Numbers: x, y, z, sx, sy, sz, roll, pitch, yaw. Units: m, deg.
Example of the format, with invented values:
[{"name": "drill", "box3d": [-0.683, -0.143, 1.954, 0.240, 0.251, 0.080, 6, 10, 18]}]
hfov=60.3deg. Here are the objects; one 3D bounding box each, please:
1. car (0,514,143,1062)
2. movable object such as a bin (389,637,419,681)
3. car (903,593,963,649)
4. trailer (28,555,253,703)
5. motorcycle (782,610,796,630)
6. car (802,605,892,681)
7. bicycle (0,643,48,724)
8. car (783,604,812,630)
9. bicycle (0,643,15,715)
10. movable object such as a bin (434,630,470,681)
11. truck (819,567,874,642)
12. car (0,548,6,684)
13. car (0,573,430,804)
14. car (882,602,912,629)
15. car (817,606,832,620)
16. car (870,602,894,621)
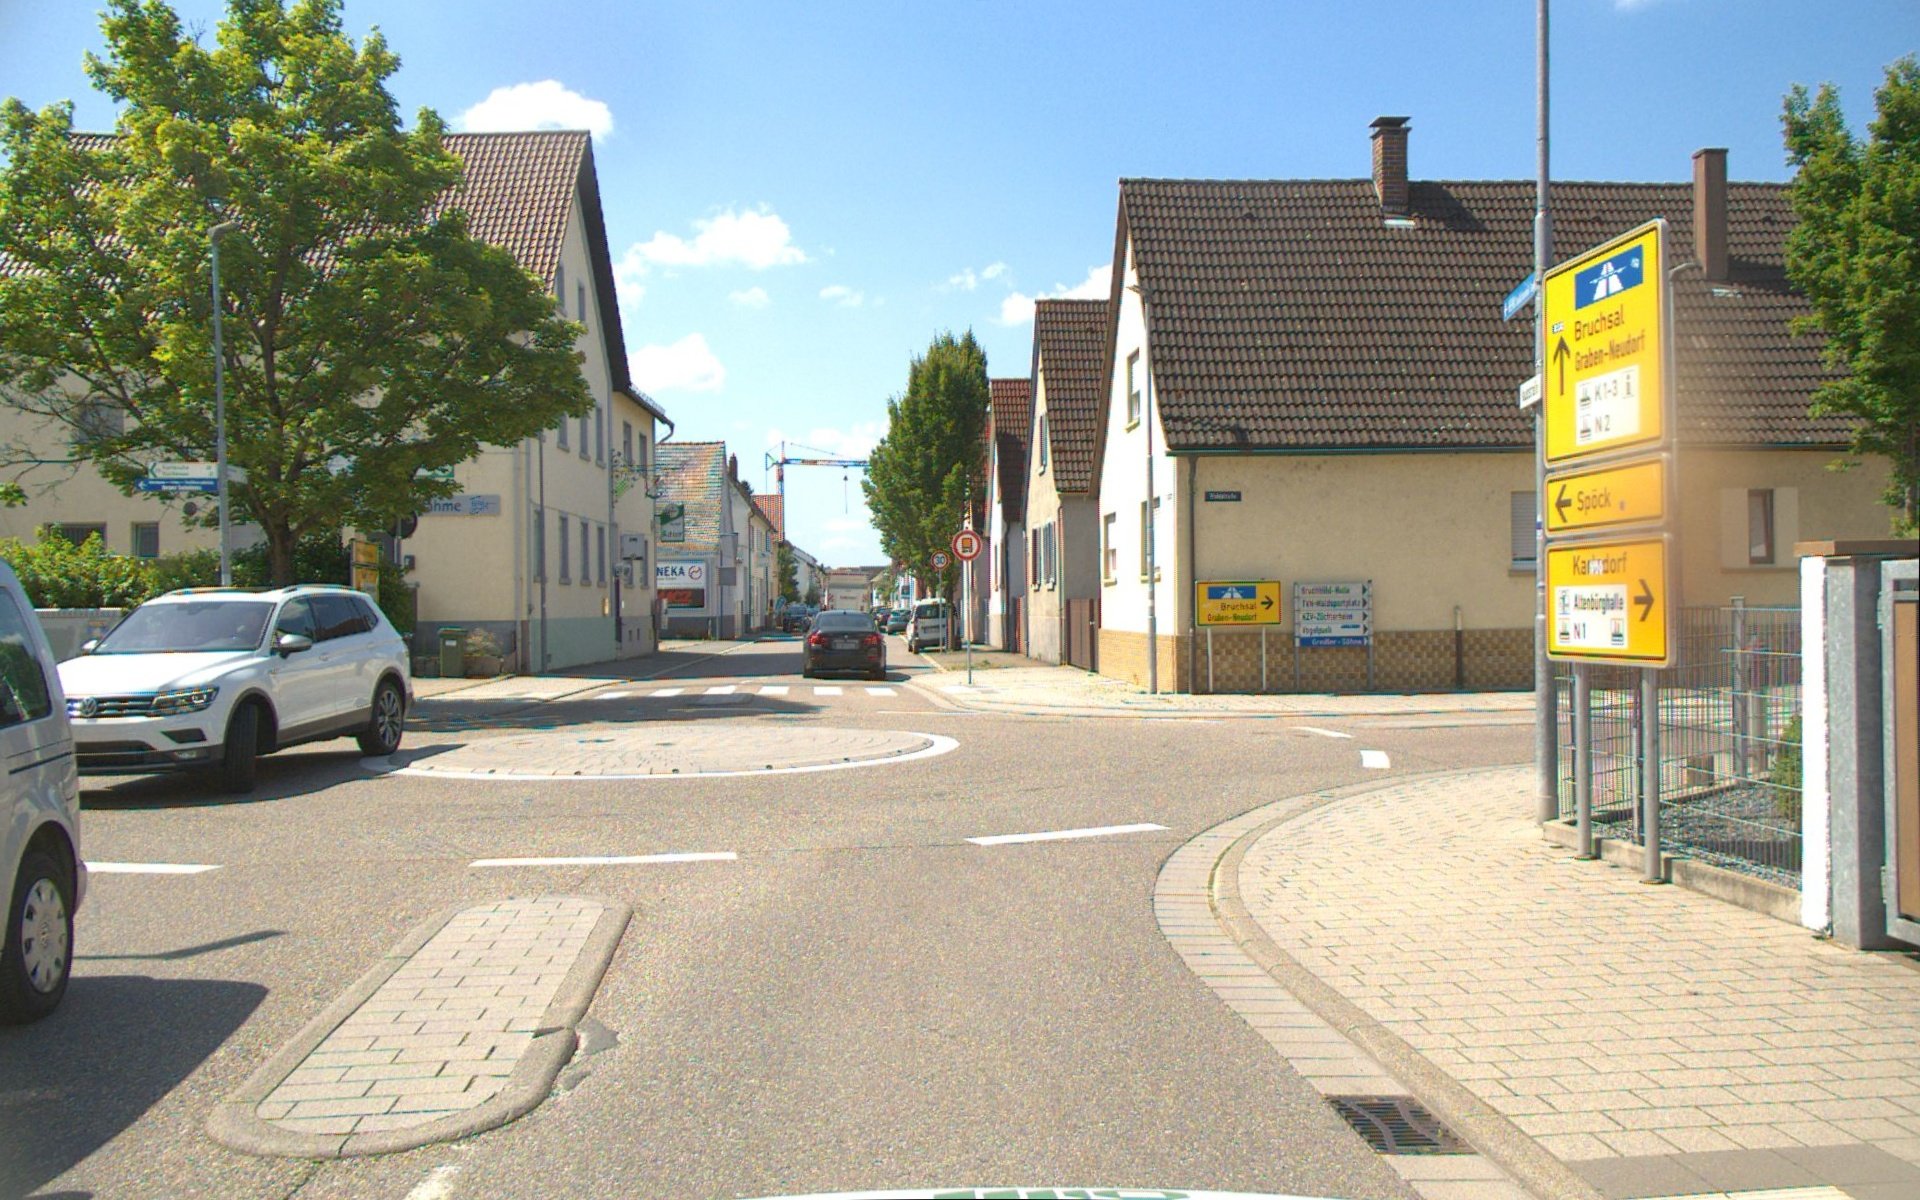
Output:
[{"name": "car", "box3d": [-3.998, 0.661, 4.674, 1.739, 1.853, 4.432, -2, 0, -9]}, {"name": "movable object such as a bin", "box3d": [-12.263, 1.308, 36.516, 0.469, 0.944, 0.547, -1, 0, -1]}, {"name": "car", "box3d": [-0.976, 0.714, 57.475, 1.686, 1.821, 4.139, -2, 0, -5]}, {"name": "trailer", "box3d": [-14.150, 0.473, 28.875, 1.841, 2.376, 4.520, 1, 0, -3]}, {"name": "motorcycle", "box3d": [-10.747, 1.260, 104.180, 0.829, 1.190, 2.466, 1, -1, -5]}, {"name": "car", "box3d": [-2.630, 0.925, 37.567, 1.865, 1.591, 4.470, 0, 0, -6]}, {"name": "bicycle", "box3d": [-13.685, 1.184, 23.921, 0.393, 1.021, 1.974, -1, 2, -15]}, {"name": "car", "box3d": [-10.595, 1.088, 108.103, 1.774, 1.617, 3.996, 0, 0, -4]}, {"name": "bicycle", "box3d": [-14.116, 1.176, 23.805, 0.393, 1.021, 1.974, -1, 2, -15]}, {"name": "movable object such as a bin", "box3d": [-11.252, 1.225, 36.665, 0.587, 1.097, 0.658, -1, 0, -2]}, {"name": "truck", "box3d": [-6.914, 0.325, 101.996, 3.082, 4.325, 9.297, 1, -1, -2]}, {"name": "car", "box3d": [-19.284, 0.288, 29.130, 1.898, 2.612, 5.643, 1, 0, -3]}, {"name": "car", "box3d": [-6.534, 0.681, 14.905, 1.827, 1.740, 4.544, -1, 0, 3]}, {"name": "car", "box3d": [-3.588, 0.883, 94.143, 1.685, 1.487, 4.155, 0, 0, -2]}, {"name": "car", "box3d": [-16.577, 1.609, 202.905, 1.773, 1.617, 3.996, 0, 0, -4]}, {"name": "car", "box3d": [-5.788, 0.851, 122.492, 1.685, 1.379, 4.153, 0, 0, -4]}]
